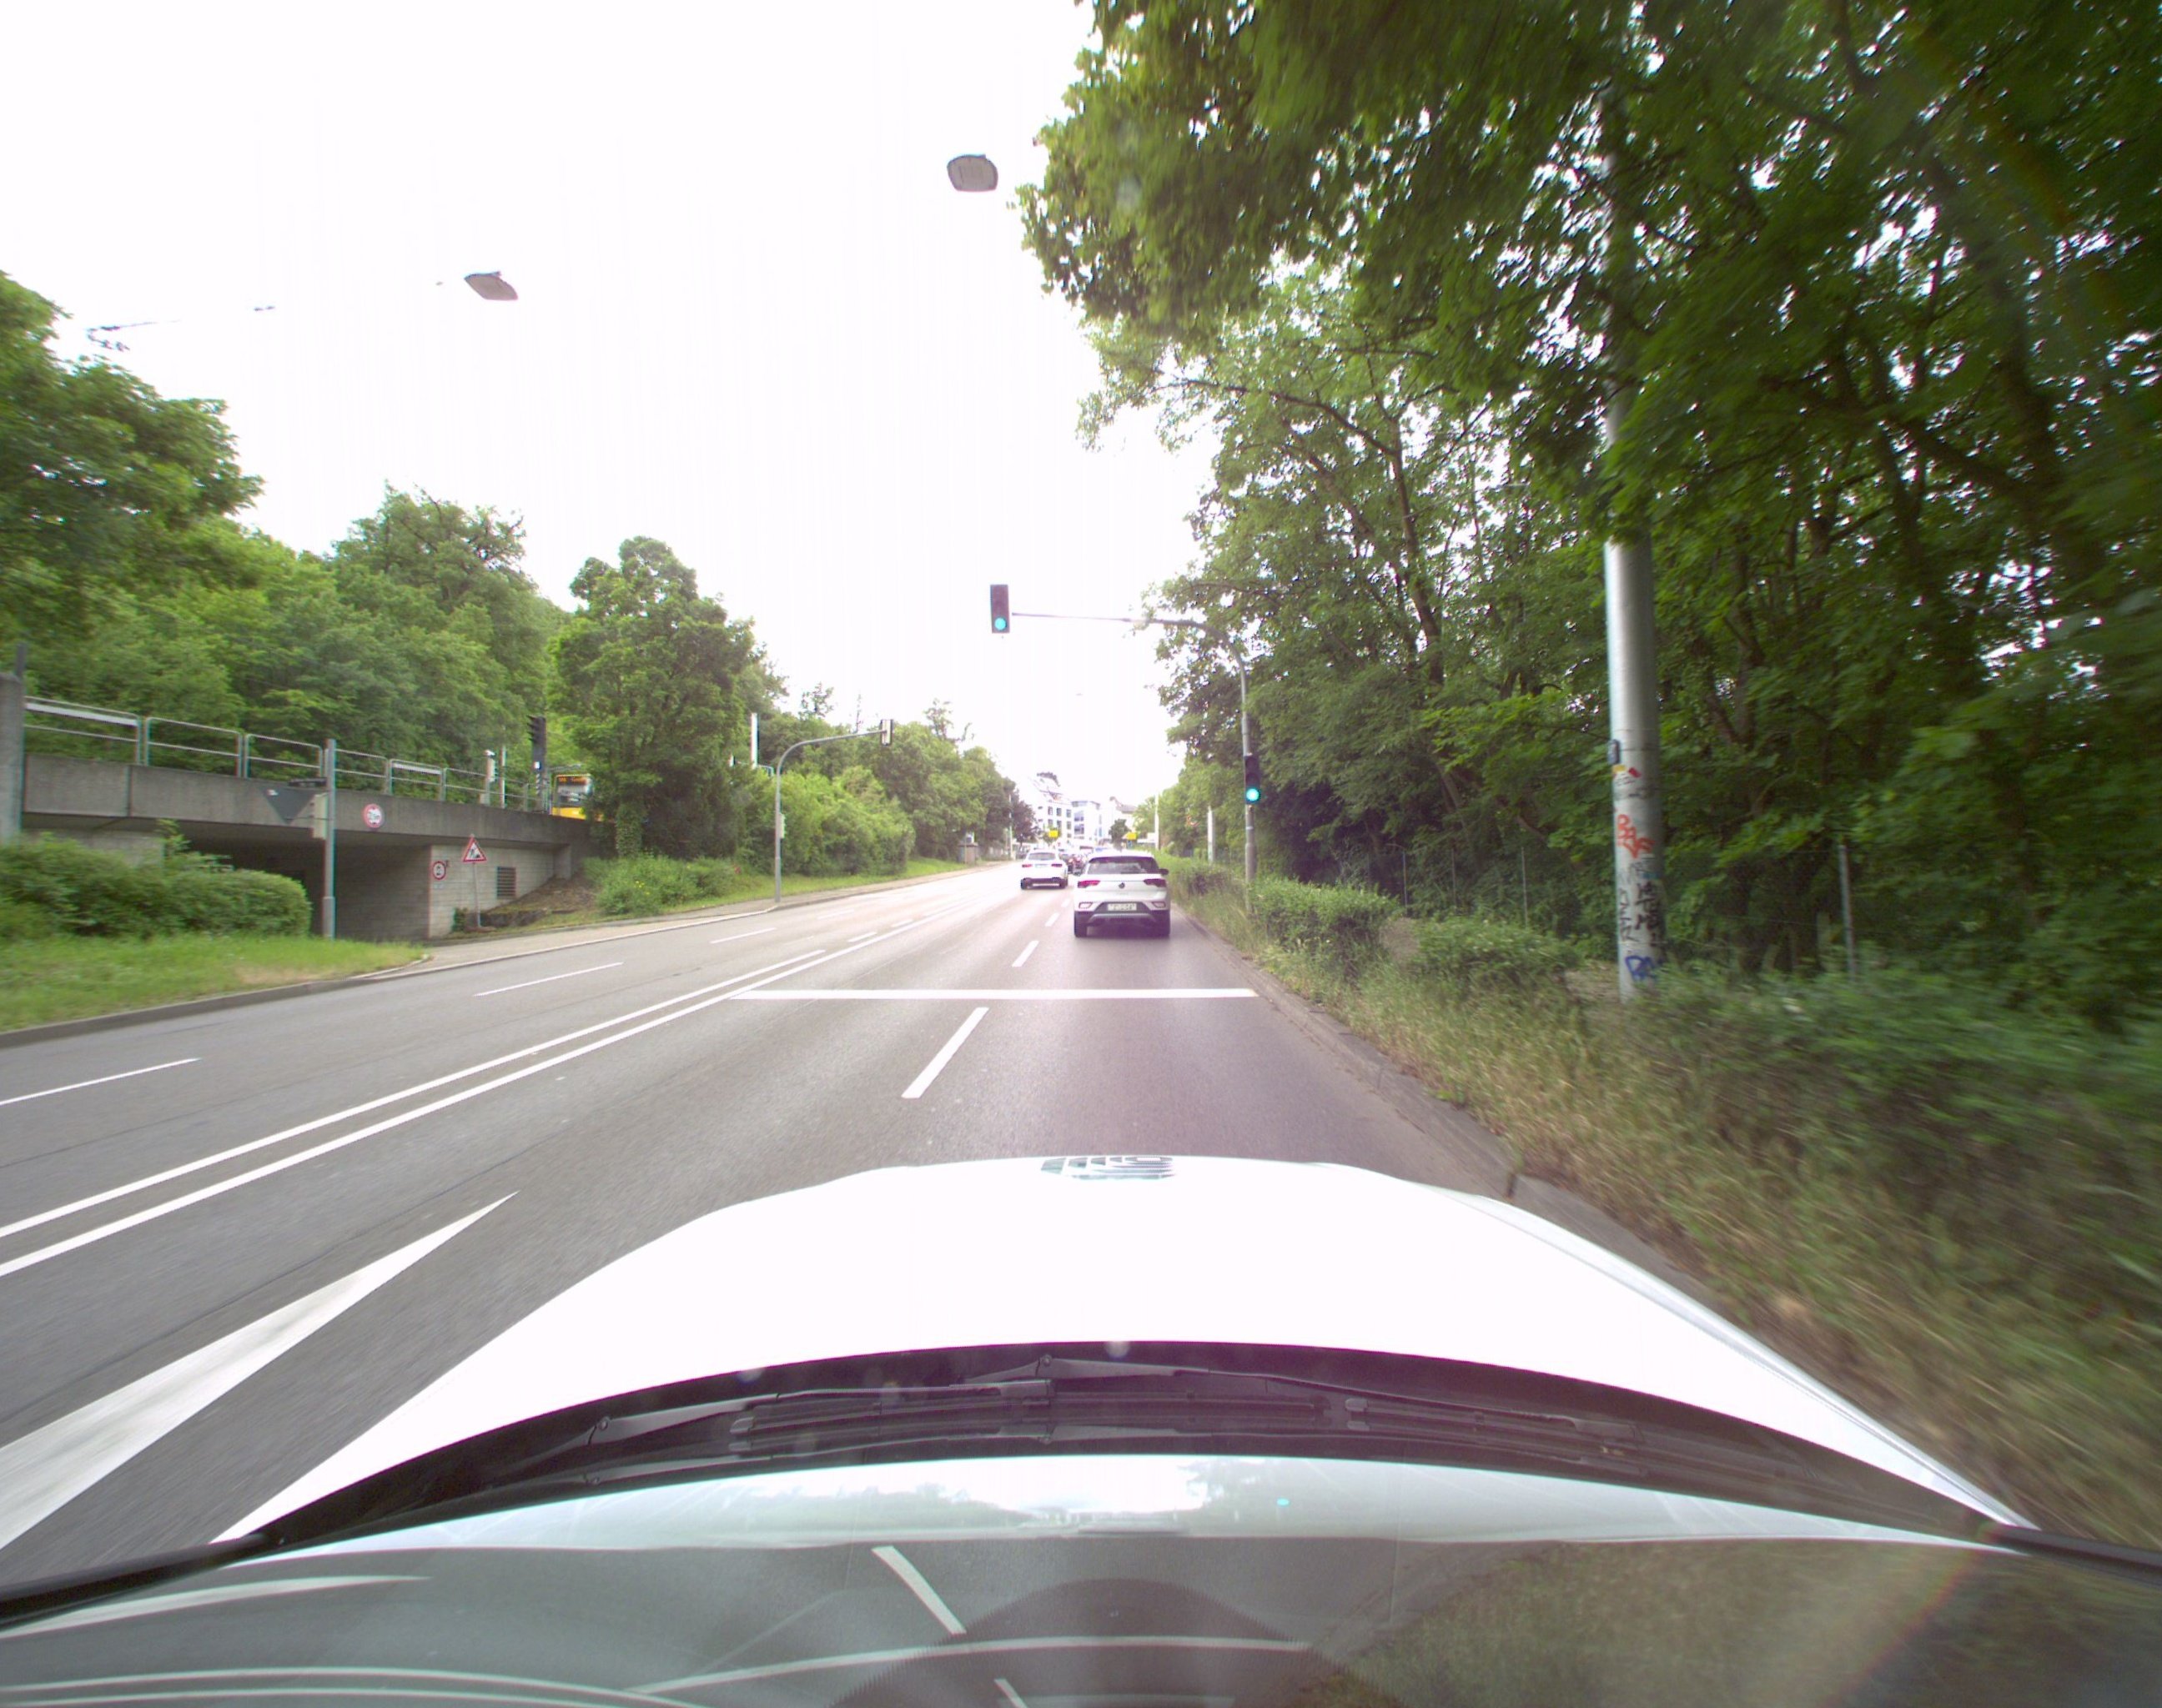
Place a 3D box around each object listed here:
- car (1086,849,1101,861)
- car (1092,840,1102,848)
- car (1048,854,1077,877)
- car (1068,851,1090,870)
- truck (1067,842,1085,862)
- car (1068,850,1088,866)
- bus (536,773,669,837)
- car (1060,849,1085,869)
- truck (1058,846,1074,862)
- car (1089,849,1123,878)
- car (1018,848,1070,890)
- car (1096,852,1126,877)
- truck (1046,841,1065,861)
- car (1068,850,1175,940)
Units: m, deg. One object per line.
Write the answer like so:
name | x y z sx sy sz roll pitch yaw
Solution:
car | 1.699 0.188 110.402 1.822 1.526 4.001 -2 0 2
car | 2.992 -1.843 151.295 1.822 1.526 4.001 -2 0 2
car | -1.255 0.778 56.929 1.822 1.497 4.001 -2 0 2
car | -0.159 0.560 73.307 1.822 1.526 4.001 -2 0 2
truck | -0.683 -0.324 119.882 2.353 2.782 4.479 -3 0 2
car | -0.260 0.371 81.240 1.822 1.526 4.001 -2 0 2
bus | -26.577 -2.605 45.790 2.531 2.789 7.945 -3 -1 1
car | -0.633 0.398 65.796 1.822 1.526 4.001 -2 0 2
truck | -3.081 -0.074 164.430 2.282 3.051 6.990 -3 0 5
car | 1.414 0.494 46.757 1.822 1.526 4.001 -2 0 2
car | -1.517 0.622 34.920 1.911 1.669 4.001 -1 0 2
car | 1.983 0.696 54.320 1.822 1.526 4.001 -2 0 2
truck | -3.572 -0.393 115.340 2.353 2.706 4.479 -3 0 2
car | 0.773 0.715 16.219 1.822 1.526 4.001 -2 0 2
